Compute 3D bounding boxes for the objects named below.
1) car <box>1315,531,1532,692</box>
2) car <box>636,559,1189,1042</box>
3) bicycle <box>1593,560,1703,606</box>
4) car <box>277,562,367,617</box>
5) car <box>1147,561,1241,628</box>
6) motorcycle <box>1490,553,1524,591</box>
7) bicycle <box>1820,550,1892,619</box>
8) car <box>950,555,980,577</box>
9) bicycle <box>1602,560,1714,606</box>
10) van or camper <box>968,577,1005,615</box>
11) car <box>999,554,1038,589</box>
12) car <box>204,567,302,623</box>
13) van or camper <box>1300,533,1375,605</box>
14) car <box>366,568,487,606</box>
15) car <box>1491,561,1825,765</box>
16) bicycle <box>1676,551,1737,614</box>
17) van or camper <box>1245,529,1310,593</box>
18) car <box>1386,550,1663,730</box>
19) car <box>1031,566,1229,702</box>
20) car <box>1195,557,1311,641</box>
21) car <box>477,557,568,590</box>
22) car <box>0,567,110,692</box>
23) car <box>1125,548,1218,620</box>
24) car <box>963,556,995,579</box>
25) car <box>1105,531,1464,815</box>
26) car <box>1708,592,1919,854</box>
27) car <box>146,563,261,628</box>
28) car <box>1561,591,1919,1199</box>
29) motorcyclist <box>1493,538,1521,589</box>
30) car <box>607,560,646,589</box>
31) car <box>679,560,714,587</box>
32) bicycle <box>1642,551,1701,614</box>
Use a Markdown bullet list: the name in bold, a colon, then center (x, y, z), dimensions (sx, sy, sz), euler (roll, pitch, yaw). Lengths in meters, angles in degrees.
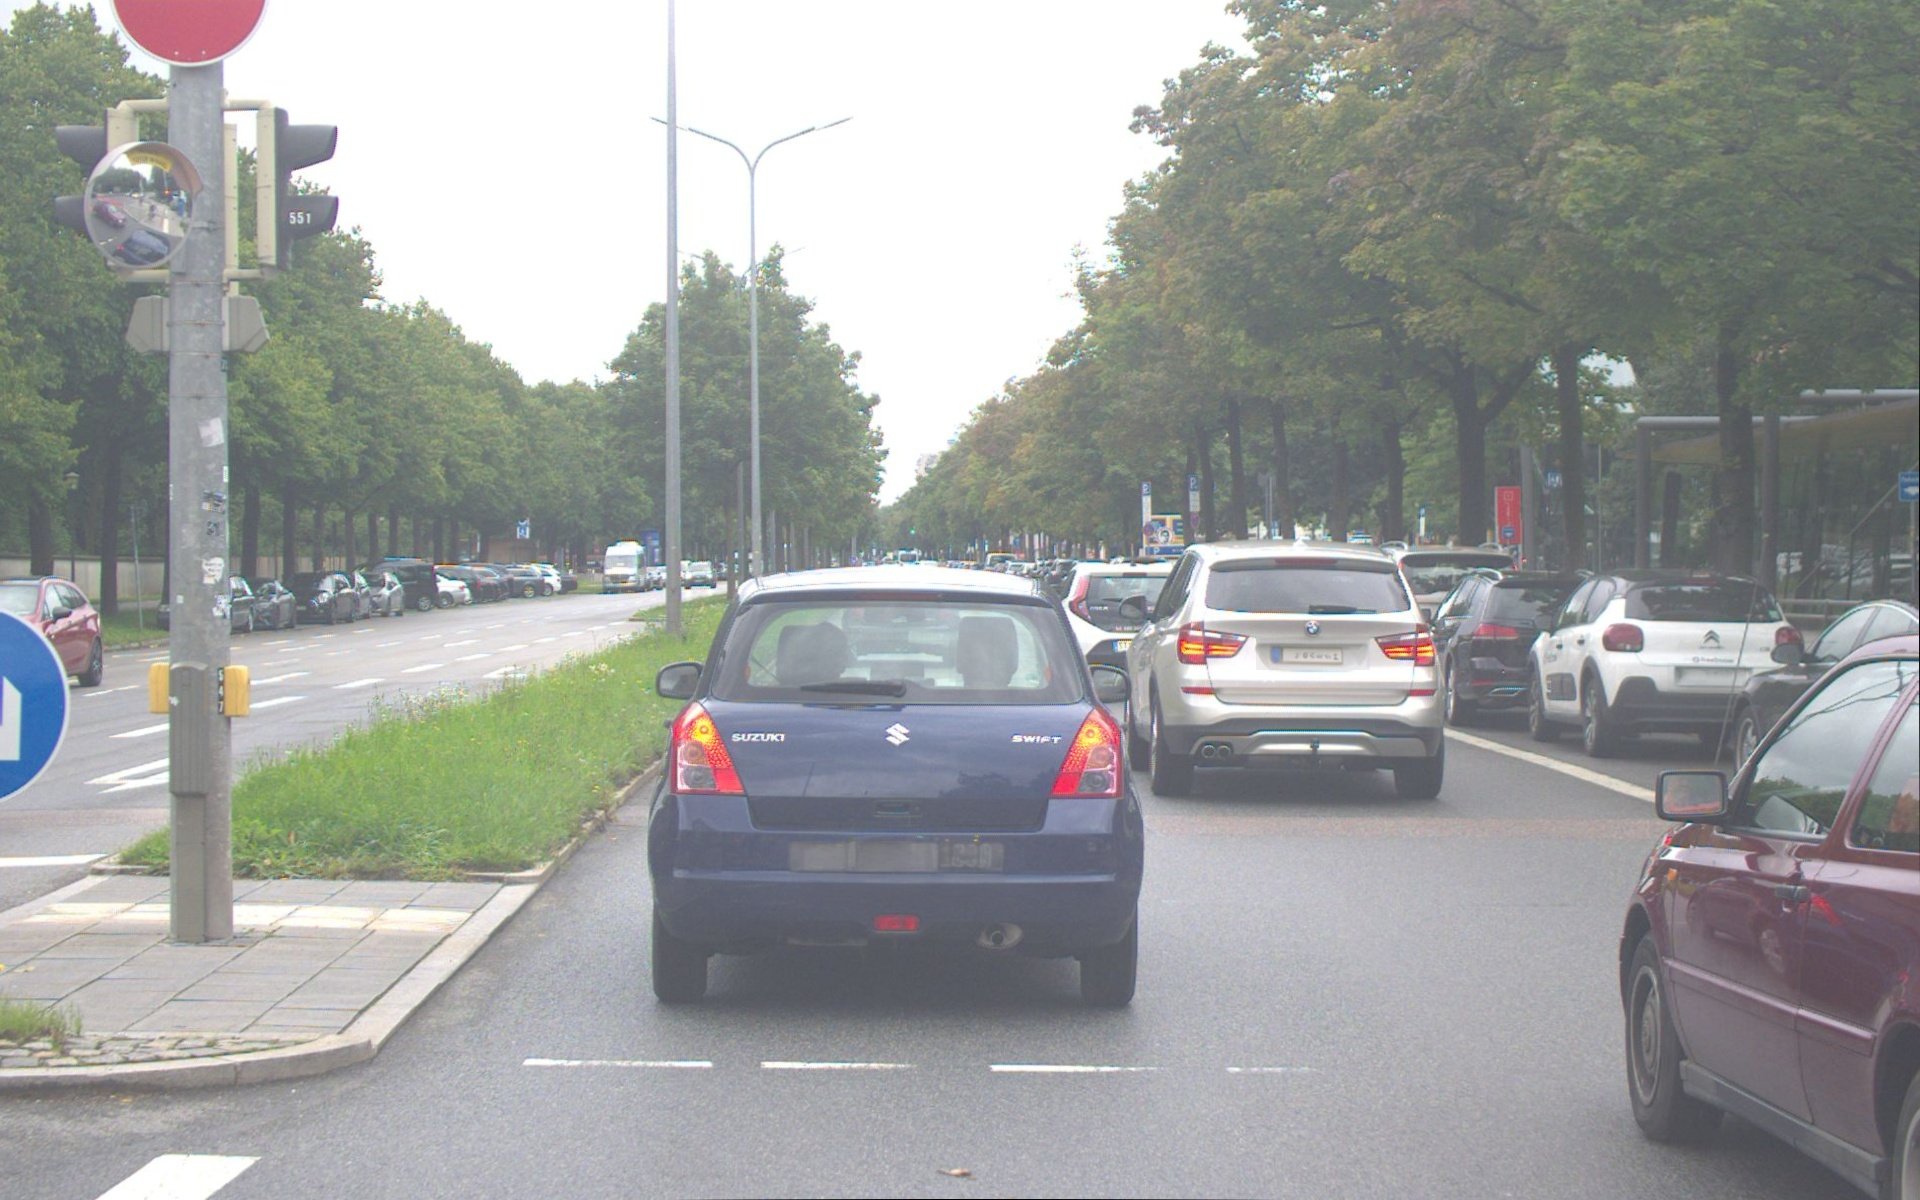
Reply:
- **car**: center (5.261, 0.075, 39.586), dimensions (1.747, 1.718, 4.906), euler (1, 1, -1)
- **car**: center (-0.247, 0.625, 13.155), dimensions (1.789, 1.550, 4.001), euler (0, 1, -3)
- **bicycle**: center (16.711, -0.418, 83.490), dimensions (2.542, 1.085, 0.647), euler (0, 1, -1)
- **car**: center (-18.228, -0.312, 98.416), dimensions (1.571, 1.498, 4.303), euler (1, 1, 3)
- **car**: center (5.159, -0.138, 76.134), dimensions (1.633, 1.434, 4.305), euler (0, 1, -2)
- **motorcycle**: center (19.194, -0.982, 120.644), dimensions (0.696, 1.286, 2.066), euler (-5, 1, -1)
- **bicycle**: center (17.058, -0.309, 65.506), dimensions (0.645, 1.276, 2.551), euler (0, 1, -1)
- **car**: center (0.355, -2.359, 237.647), dimensions (1.850, 1.442, 4.098), euler (0, 1, -3)
- **bicycle**: center (16.738, -0.402, 82.420), dimensions (2.542, 1.085, 0.647), euler (0, 1, -1)
- **van or camper**: center (1.438, -0.224, 185.789), dimensions (1.944, 1.968, 4.306), euler (0, 1, 0)
- **car**: center (2.675, -1.316, 157.881), dimensions (1.684, 1.520, 4.456), euler (1, 1, 0)
- **car**: center (-18.451, -0.152, 89.844), dimensions (1.659, 1.391, 4.707), euler (1, 1, -1)
- **van or camper**: center (13.725, -1.146, 125.207), dimensions (1.993, 2.549, 5.957), euler (0, 1, -1)
- **car**: center (-19.704, -0.494, 127.074), dimensions (3.987, 1.349, 1.850), euler (-1, 1, -35)
- **car**: center (5.676, 0.456, 28.461), dimensions (1.712, 1.542, 4.382), euler (0, 1, -2)
- **bicycle**: center (15.367, -0.375, 70.796), dimensions (0.645, 1.276, 2.551), euler (0, 1, -1)
- **van or camper**: center (13.102, -1.621, 142.042), dimensions (2.024, 2.549, 5.957), euler (0, 1, -1)
- **car**: center (5.358, 0.324, 33.187), dimensions (1.747, 1.542, 4.643), euler (-2, 1, -2)
- **car**: center (1.861, 0.342, 38.840), dimensions (1.850, 1.442, 4.098), euler (0, 1, -3)
- **car**: center (5.406, -0.040, 63.884), dimensions (1.717, 1.503, 4.224), euler (0, 1, -1)
- **car**: center (-21.859, -1.322, 171.851), dimensions (4.095, 1.579, 1.919), euler (-1, 1, -34)
- **car**: center (-12.198, 0.361, 43.541), dimensions (1.743, 1.447, 4.658), euler (-2, 1, -1)
- **car**: center (5.008, -0.398, 81.791), dimensions (1.786, 1.669, 4.596), euler (0, 1, -2)
- **car**: center (1.221, -2.132, 223.810), dimensions (1.850, 1.442, 4.098), euler (0, 1, -3)
- **car**: center (2.083, 0.419, 23.181), dimensions (1.850, 1.737, 4.098), euler (0, 1, -3)
- **car**: center (5.897, 0.664, 20.326), dimensions (1.710, 1.356, 4.622), euler (0, 1, -3)
- **car**: center (-18.388, -0.138, 83.781), dimensions (1.799, 1.485, 4.915), euler (1, 1, -1)
- **car**: center (2.575, 0.724, 7.793), dimensions (1.622, 1.449, 3.950), euler (0, 1, -2)
- **motorcyclist**: center (19.159, -1.282, 120.415), dimensions (0.691, 1.731, 0.953), euler (-5, 1, -1)
- **car**: center (-18.378, -1.425, 189.591), dimensions (1.913, 1.537, 4.188), euler (-1, 1, -3)
- **car**: center (-15.460, -1.582, 201.859), dimensions (1.913, 1.537, 4.188), euler (-1, 1, -3)
- **bicycle**: center (14.648, -0.371, 70.813), dimensions (0.645, 1.276, 2.551), euler (0, 1, -1)
